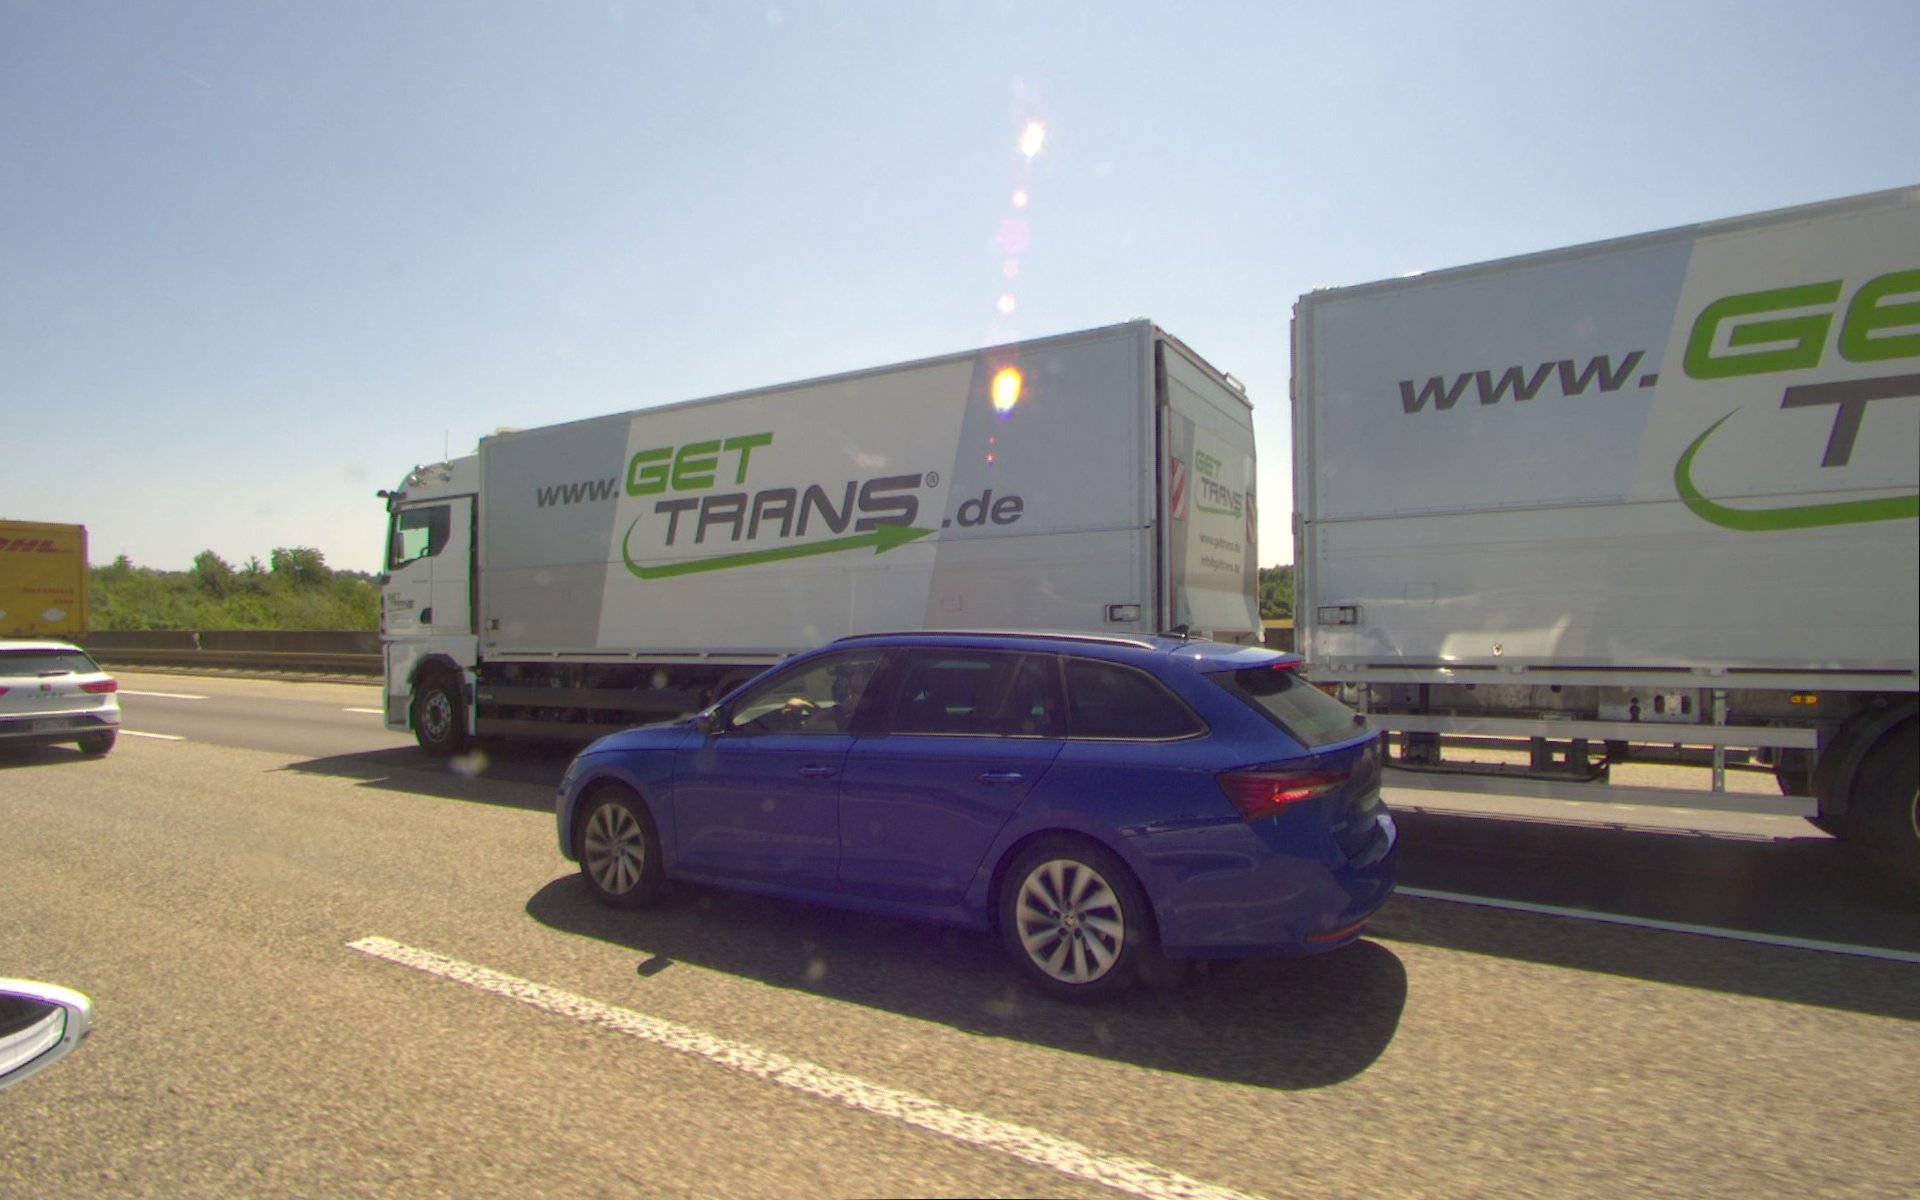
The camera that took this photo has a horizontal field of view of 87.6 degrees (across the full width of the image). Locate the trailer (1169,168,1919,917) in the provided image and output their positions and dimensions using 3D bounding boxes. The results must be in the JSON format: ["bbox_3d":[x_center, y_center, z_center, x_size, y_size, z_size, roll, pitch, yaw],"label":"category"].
[{"bbox_3d":[5.635,-0.247,5.927,8.171,3.640,2.840,-1,-2,31],"label":"trailer"}]

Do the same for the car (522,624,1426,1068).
[{"bbox_3d":[-0.111,0.867,5.178,4.434,1.459,1.707,-1,-2,31],"label":"car"}]

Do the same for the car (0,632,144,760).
[{"bbox_3d":[-12.077,1.104,12.463,4.128,1.405,1.778,-1,-2,32],"label":"car"}]

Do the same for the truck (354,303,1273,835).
[{"bbox_3d":[-2.342,-0.038,10.913,10.615,3.648,2.846,-2,-2,32],"label":"truck"}]

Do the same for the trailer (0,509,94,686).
[{"bbox_3d":[-25.731,0.072,25.799,8.803,4.074,2.697,-2,-2,32],"label":"trailer"}]
